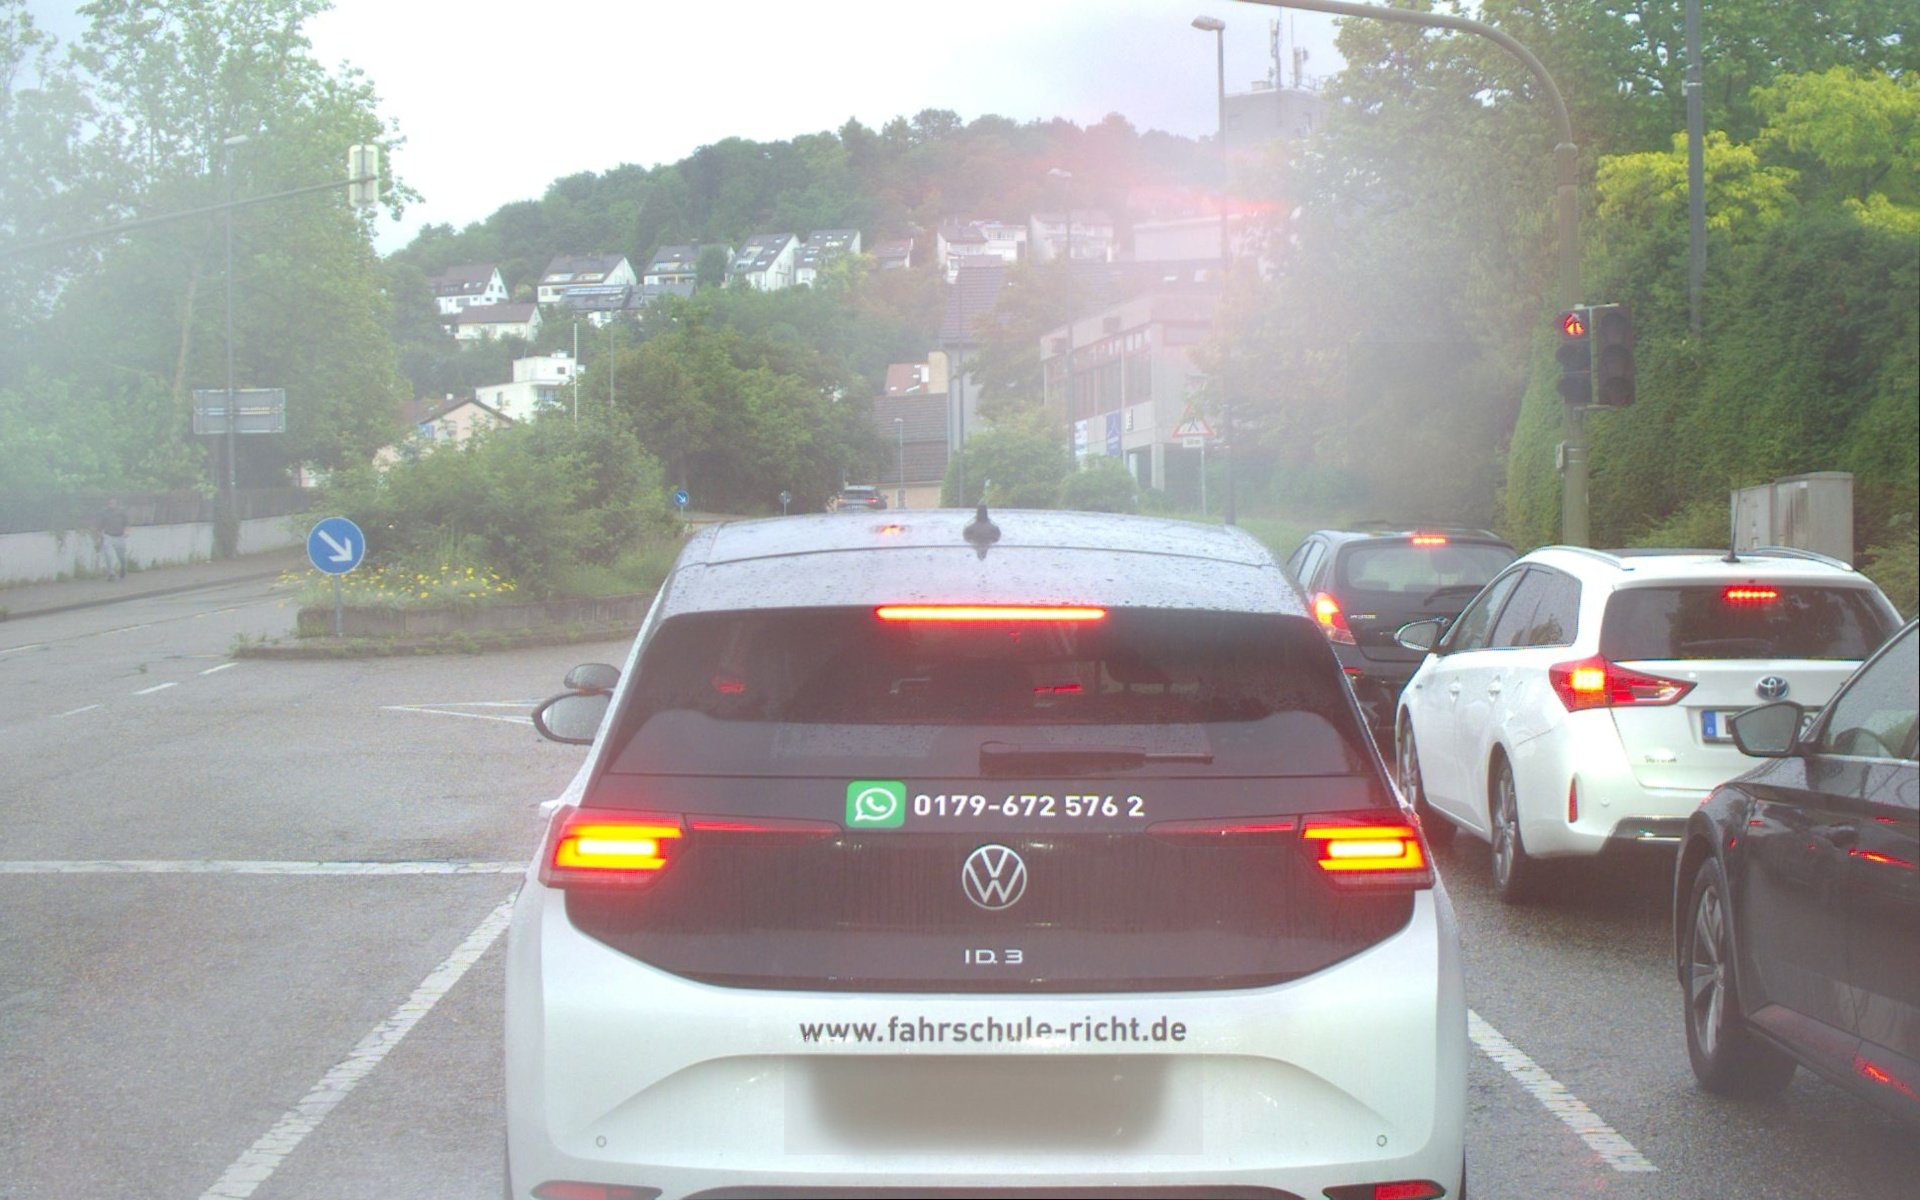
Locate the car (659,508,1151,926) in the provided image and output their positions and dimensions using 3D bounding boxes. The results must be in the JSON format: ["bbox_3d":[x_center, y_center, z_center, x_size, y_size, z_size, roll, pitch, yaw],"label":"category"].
[{"bbox_3d":[-0.253,0.395,15.145,1.837,1.549,4.175,1,1,-1],"label":"car"}]

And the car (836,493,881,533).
[{"bbox_3d":[-4.274,-3.677,145.562,1.775,1.576,4.000,-2,1,0],"label":"car"}]

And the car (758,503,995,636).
[{"bbox_3d":[-0.907,-0.382,39.717,1.762,1.413,3.747,-1,2,14],"label":"car"}]

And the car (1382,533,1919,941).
[{"bbox_3d":[3.049,0.474,14.806,1.837,1.461,4.117,1,1,-1],"label":"car"}]

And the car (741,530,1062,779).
[{"bbox_3d":[-0.380,0.277,21.919,1.837,1.395,3.831,1,1,-1],"label":"car"}]

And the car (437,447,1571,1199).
[{"bbox_3d":[0.021,0.524,7.962,1.837,1.623,4.616,1,1,-1],"label":"car"}]

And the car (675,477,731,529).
[{"bbox_3d":[-10.488,-3.937,140.327,1.993,2.007,4.000,1,0,0],"label":"car"}]

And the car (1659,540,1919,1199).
[{"bbox_3d":[2.868,0.635,7.461,1.838,1.461,4.350,1,1,1],"label":"car"}]

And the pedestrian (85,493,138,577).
[{"bbox_3d":[-16.262,-1.248,65.886,0.760,1.562,0.825,-2,1,-1],"label":"pedestrian"}]

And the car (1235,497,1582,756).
[{"bbox_3d":[2.949,0.140,23.376,1.775,1.576,4.000,1,1,0],"label":"car"}]
